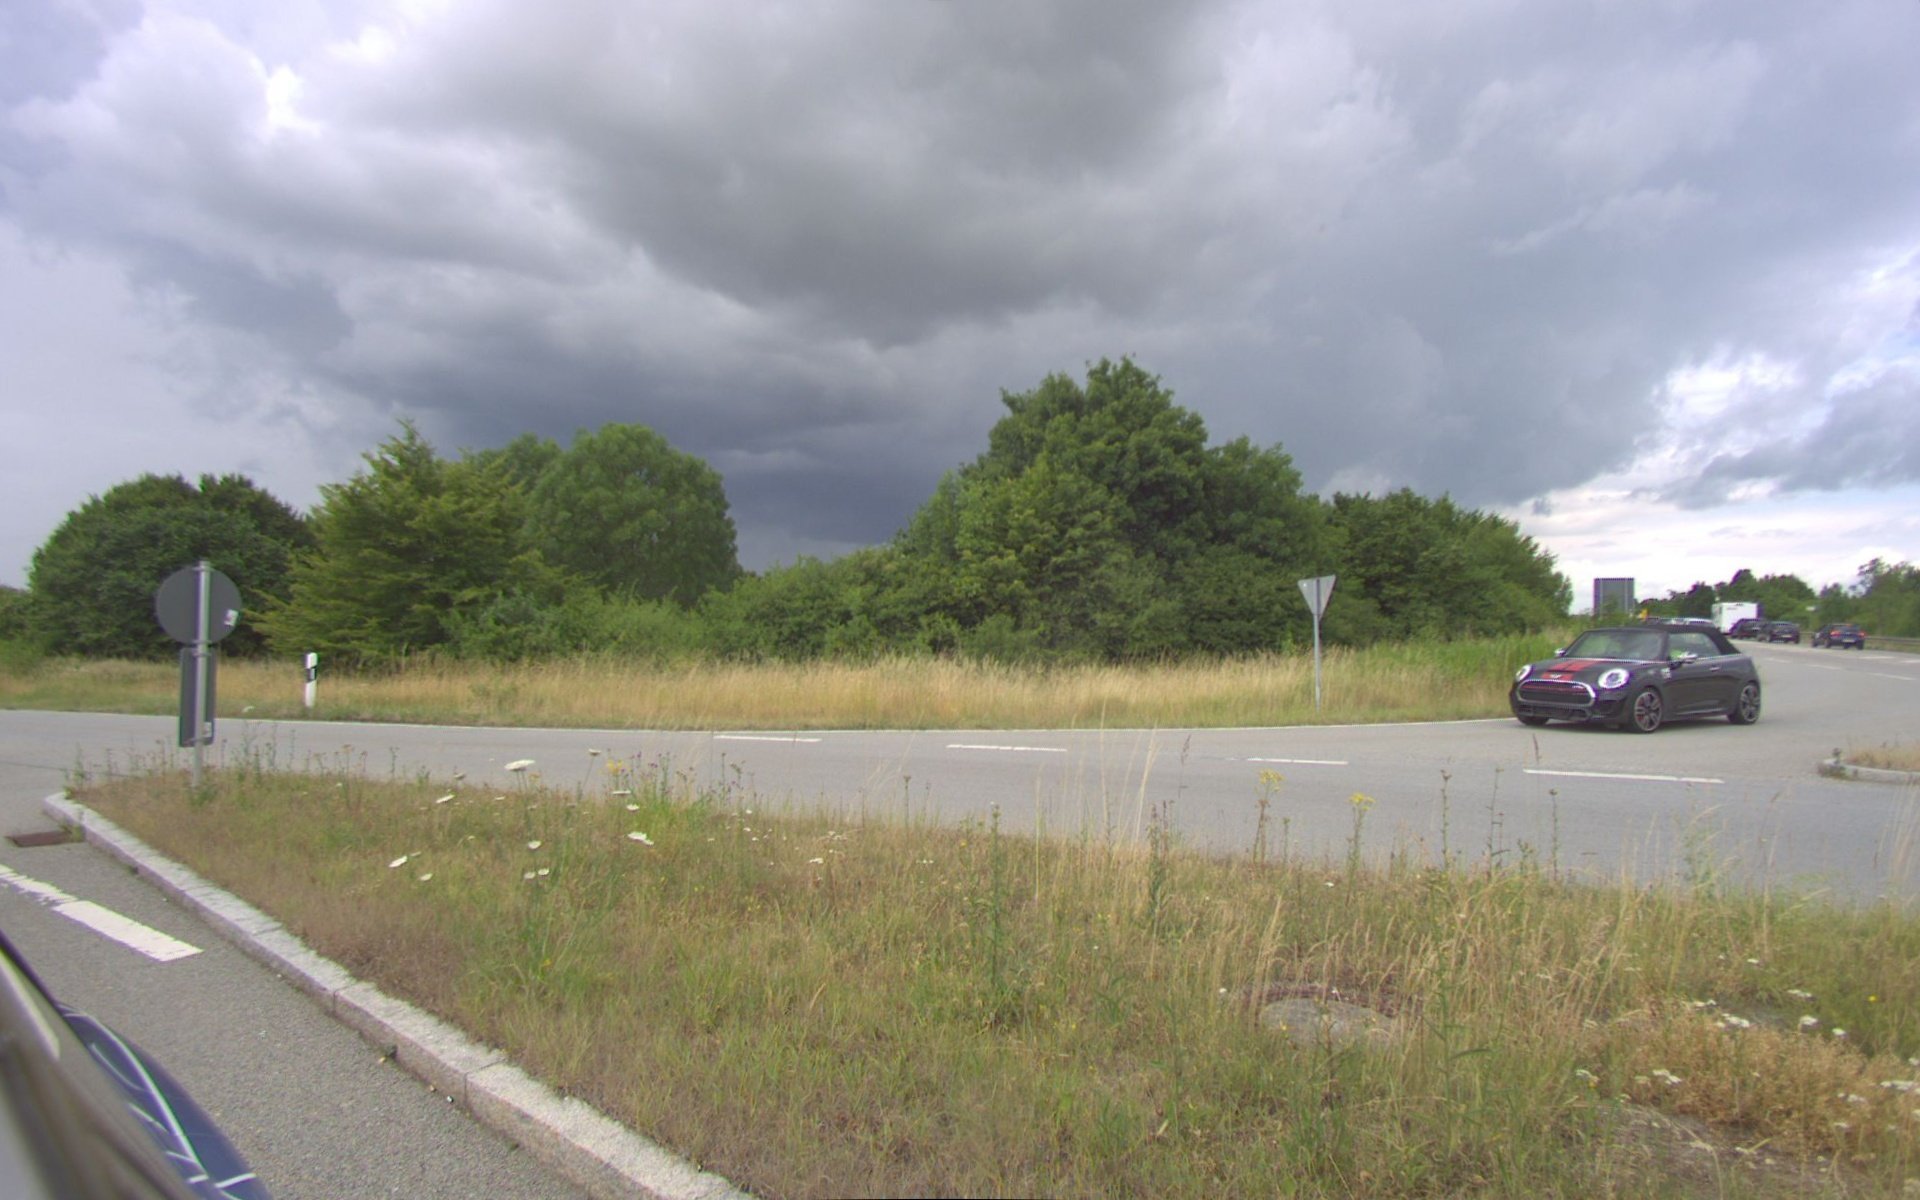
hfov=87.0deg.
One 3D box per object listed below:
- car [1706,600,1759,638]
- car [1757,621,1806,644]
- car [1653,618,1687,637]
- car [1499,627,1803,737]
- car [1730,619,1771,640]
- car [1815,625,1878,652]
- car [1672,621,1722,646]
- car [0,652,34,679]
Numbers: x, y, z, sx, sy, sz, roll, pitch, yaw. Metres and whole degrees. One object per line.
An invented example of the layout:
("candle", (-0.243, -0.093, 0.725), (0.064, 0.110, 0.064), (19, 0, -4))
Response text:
("car", (64.551, 1.657, 84.667), (2.329, 3.052, 6.497), (0, -2, 27))
("car", (56.694, 2.260, 69.940), (1.840, 1.537, 3.962), (0, -2, 28))
("car", (74.980, 2.951, 106.947), (2.330, 1.936, 4.829), (0, -2, 28))
("car", (9.743, 1.077, 14.236), (4.096, 1.363, 1.680), (1, -3, -26))
("car", (59.964, 2.257, 76.834), (1.840, 1.537, 3.961), (0, -2, 29))
("car", (51.570, 2.221, 58.956), (1.840, 1.537, 3.961), (0, -2, 28))
("car", (44.225, 2.004, 60.841), (1.763, 1.462, 4.351), (0, -2, 27))
("car", (-59.491, 4.036, 62.234), (1.793, 1.544, 4.007), (1, -2, -9))
